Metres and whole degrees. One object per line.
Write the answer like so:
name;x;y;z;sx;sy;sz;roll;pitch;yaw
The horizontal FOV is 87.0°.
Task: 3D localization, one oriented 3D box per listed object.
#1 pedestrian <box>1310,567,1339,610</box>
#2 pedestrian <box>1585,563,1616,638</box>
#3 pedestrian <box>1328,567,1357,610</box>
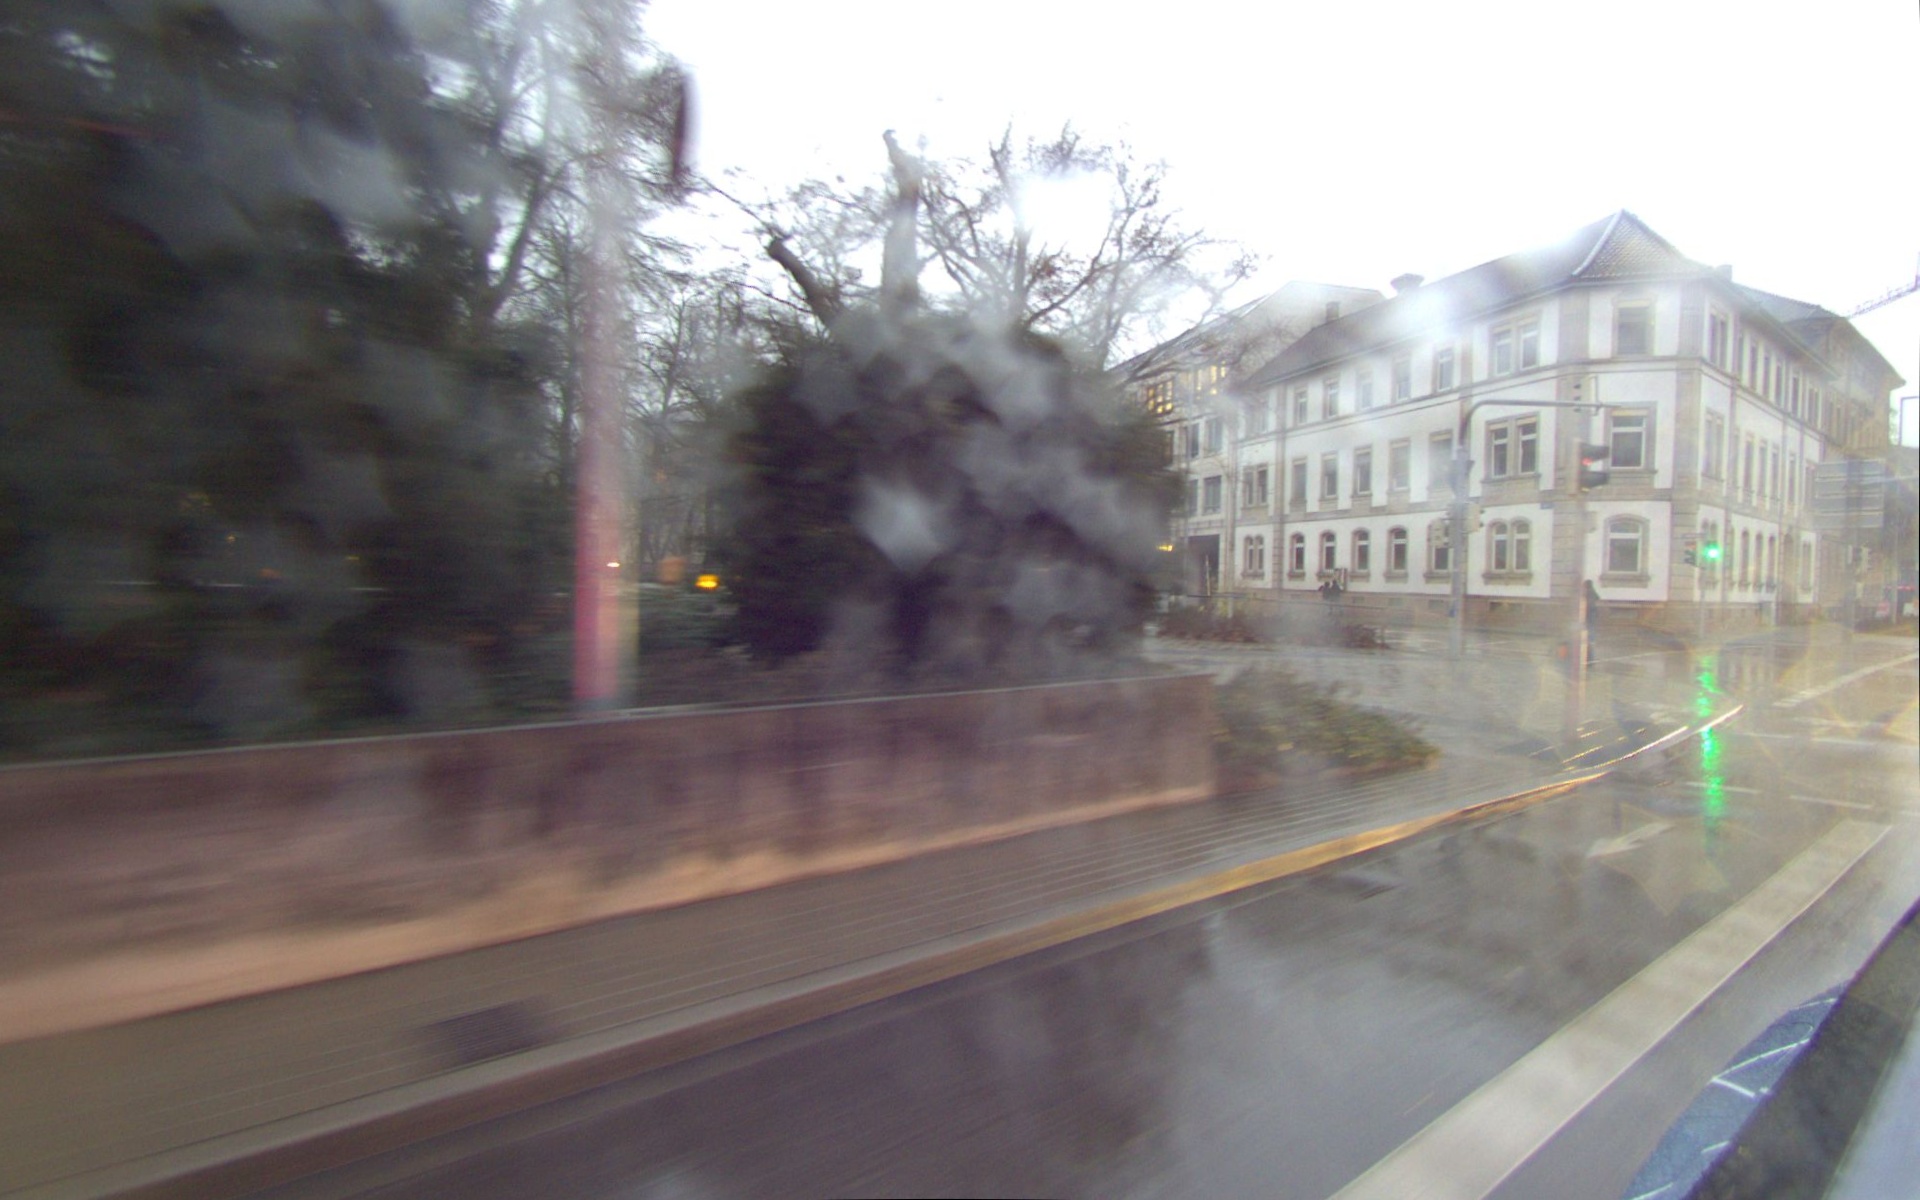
pedestrian;17.037;-0.530;47.252;0.849;2.006;0.980;0;0;-18
pedestrian;16.717;0.006;26.395;0.670;1.903;0.706;0;0;34
pedestrian;17.946;-0.533;47.536;0.849;2.006;0.980;0;0;-18
